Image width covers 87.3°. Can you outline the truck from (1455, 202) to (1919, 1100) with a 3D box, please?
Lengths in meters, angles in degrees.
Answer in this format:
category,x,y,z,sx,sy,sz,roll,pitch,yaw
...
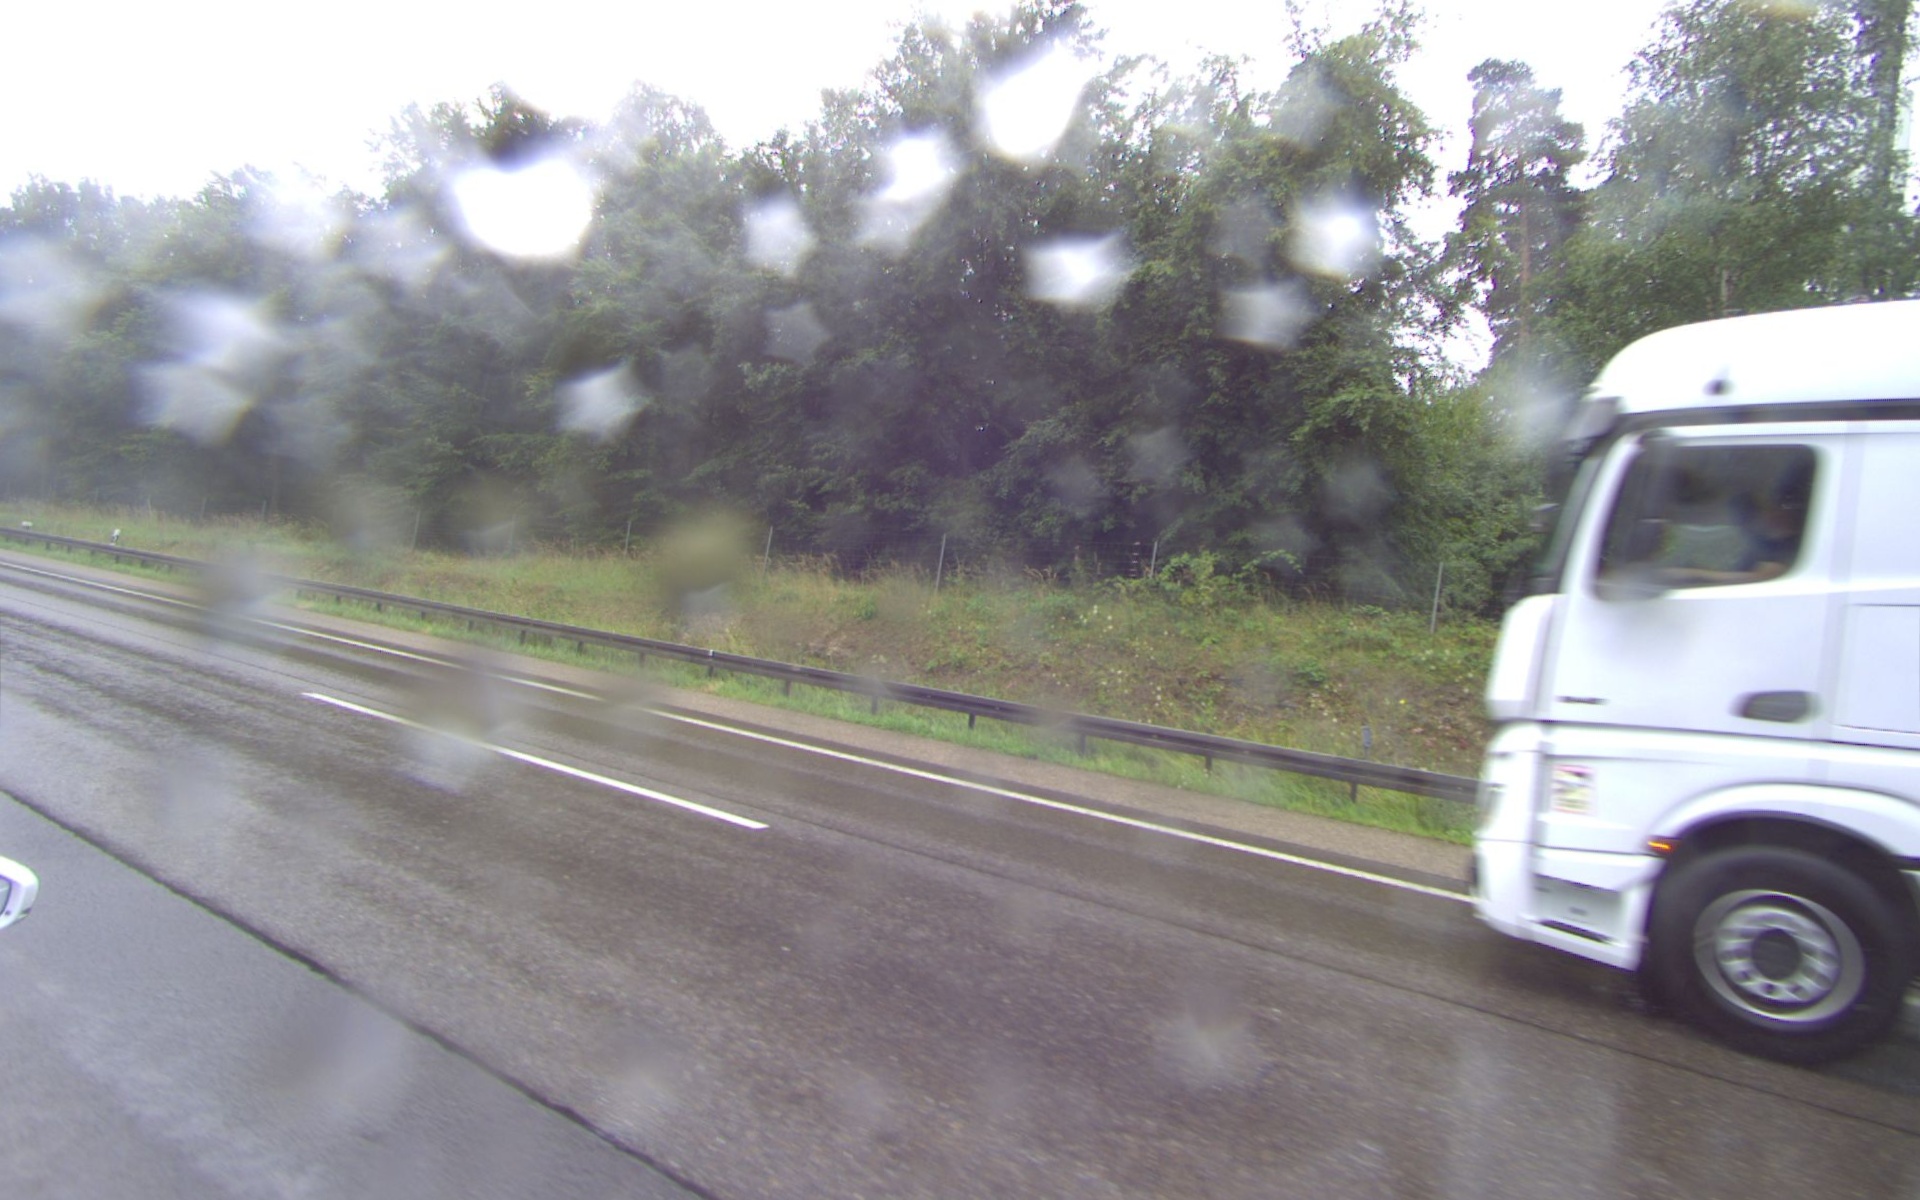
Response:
category,x,y,z,sx,sy,sz,roll,pitch,yaw
truck,6.083,0.448,4.979,5.914,4.058,2.607,7,-3,32
